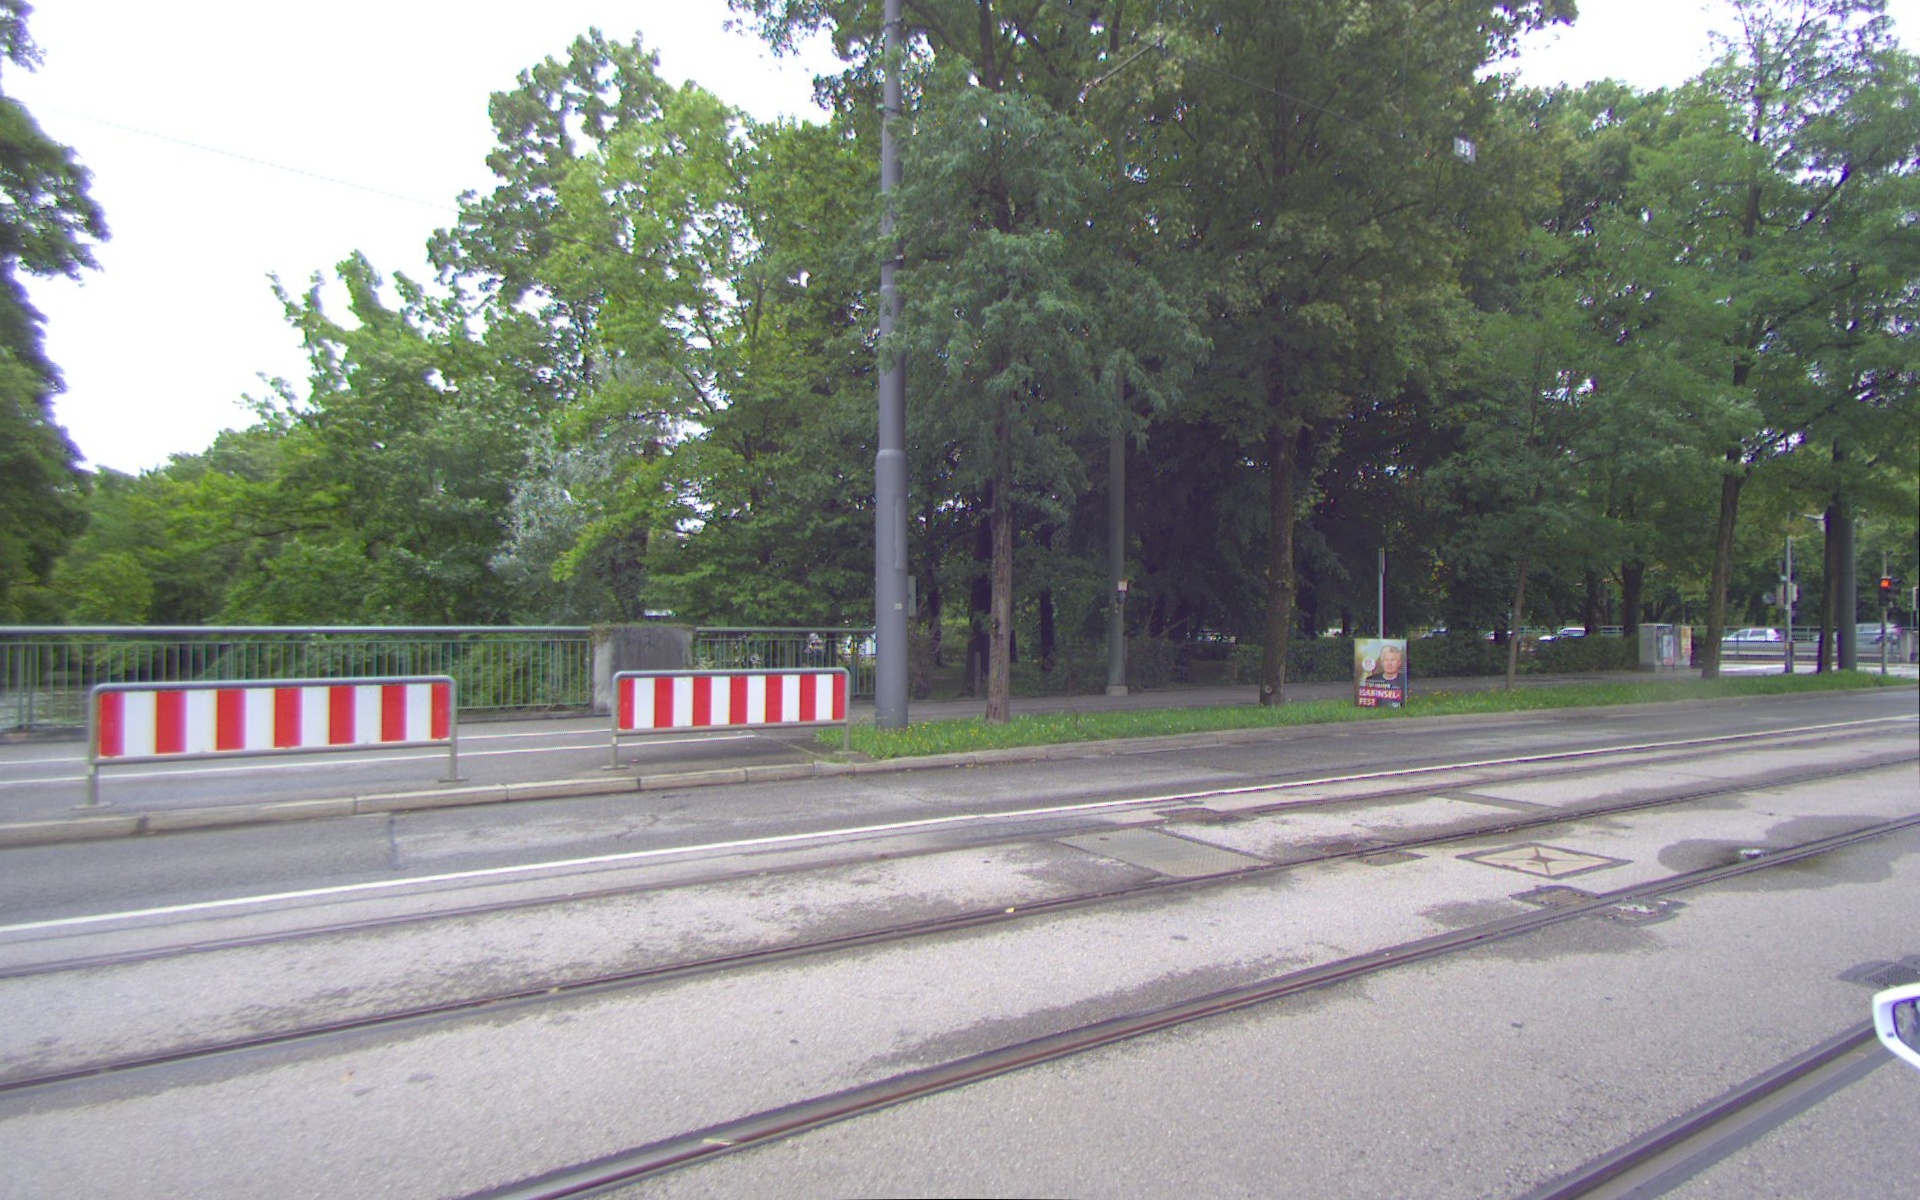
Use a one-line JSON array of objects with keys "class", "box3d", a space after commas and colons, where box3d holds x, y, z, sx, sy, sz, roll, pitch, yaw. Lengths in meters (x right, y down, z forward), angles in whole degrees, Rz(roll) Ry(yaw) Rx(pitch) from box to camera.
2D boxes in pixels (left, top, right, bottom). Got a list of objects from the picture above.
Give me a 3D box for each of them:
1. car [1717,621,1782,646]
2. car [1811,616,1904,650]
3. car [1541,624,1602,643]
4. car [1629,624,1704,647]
[{"class": "car", "box3d": [51.119, 2.144, 65.090, 1.238, 1.471, 3.090, 1, 0, -34]}, {"class": "car", "box3d": [54.176, 1.961, 60.693, 1.476, 1.912, 3.994, 1, 0, -36]}, {"class": "car", "box3d": [45.285, 2.468, 74.435, 1.238, 1.201, 3.704, 1, 0, -34]}, {"class": "car", "box3d": [48.618, 2.405, 69.198, 1.703, 1.423, 3.900, 1, 0, -34]}]
